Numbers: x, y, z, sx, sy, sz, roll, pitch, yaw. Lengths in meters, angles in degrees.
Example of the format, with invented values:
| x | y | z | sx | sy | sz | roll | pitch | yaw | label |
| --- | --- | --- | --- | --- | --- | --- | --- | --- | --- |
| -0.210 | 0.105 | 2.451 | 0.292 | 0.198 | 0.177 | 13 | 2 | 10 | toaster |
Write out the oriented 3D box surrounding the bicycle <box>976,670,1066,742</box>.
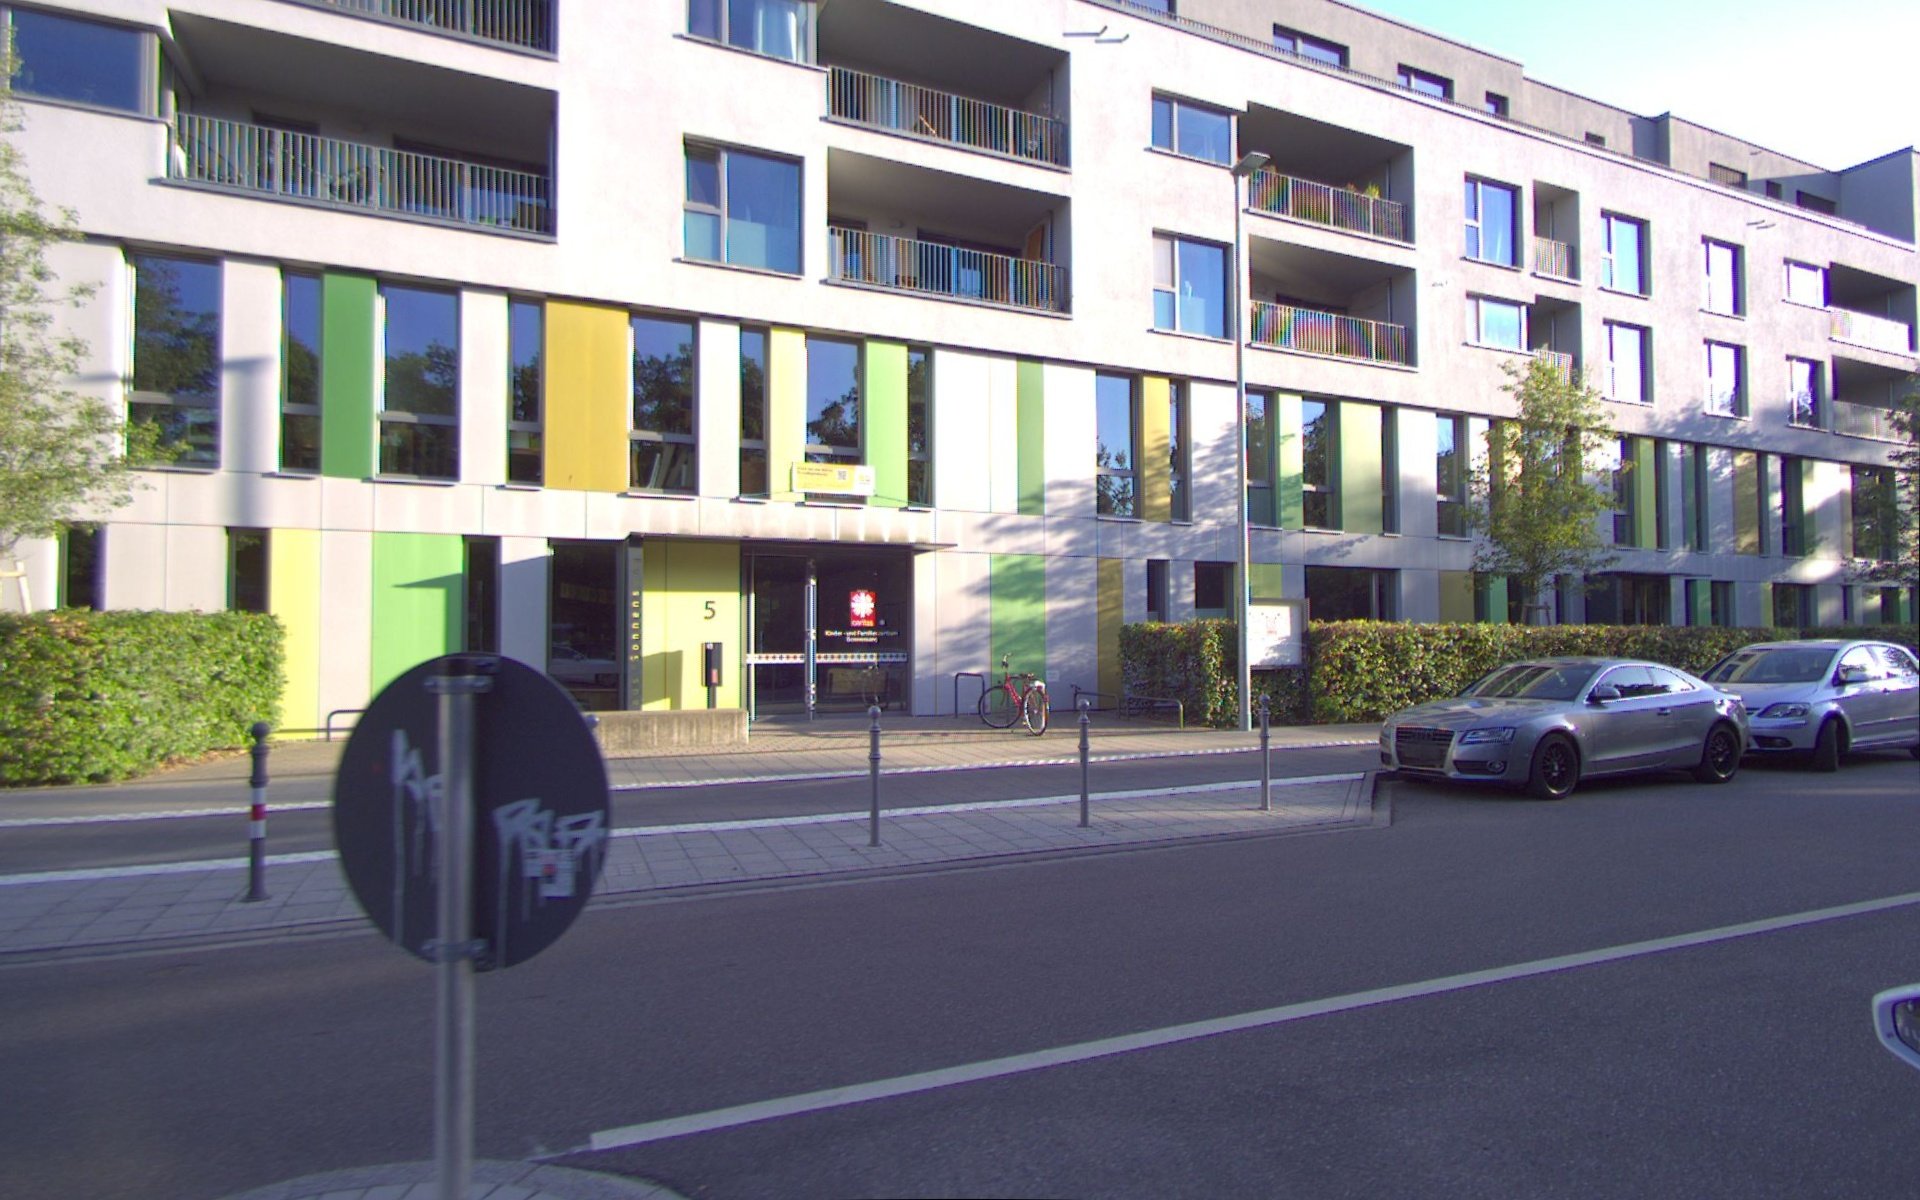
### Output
| x | y | z | sx | sy | sz | roll | pitch | yaw | label |
| --- | --- | --- | --- | --- | --- | --- | --- | --- | --- |
| 0.892 | 1.560 | 15.163 | 0.609 | 0.930 | 1.746 | 1 | -1 | -25 | bicycle |

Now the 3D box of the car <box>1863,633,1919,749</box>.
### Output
| x | y | z | sx | sy | sz | roll | pitch | yaw | label |
| --- | --- | --- | --- | --- | --- | --- | --- | --- | --- |
| 16.094 | 1.322 | 15.408 | 4.356 | 1.697 | 1.737 | 0 | -3 | -25 | car |

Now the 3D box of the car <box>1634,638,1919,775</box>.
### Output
| x | y | z | sx | sy | sz | roll | pitch | yaw | label |
| --- | --- | --- | --- | --- | --- | --- | --- | --- | --- |
| 11.015 | 1.300 | 13.228 | 4.061 | 1.554 | 1.737 | 1 | -3 | -26 | car |

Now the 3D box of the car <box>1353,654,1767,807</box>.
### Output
| x | y | z | sx | sy | sz | roll | pitch | yaw | label |
| --- | --- | --- | --- | --- | --- | --- | --- | --- | --- |
| 6.615 | 1.305 | 11.051 | 4.335 | 1.374 | 1.738 | 1 | -3 | -24 | car |
